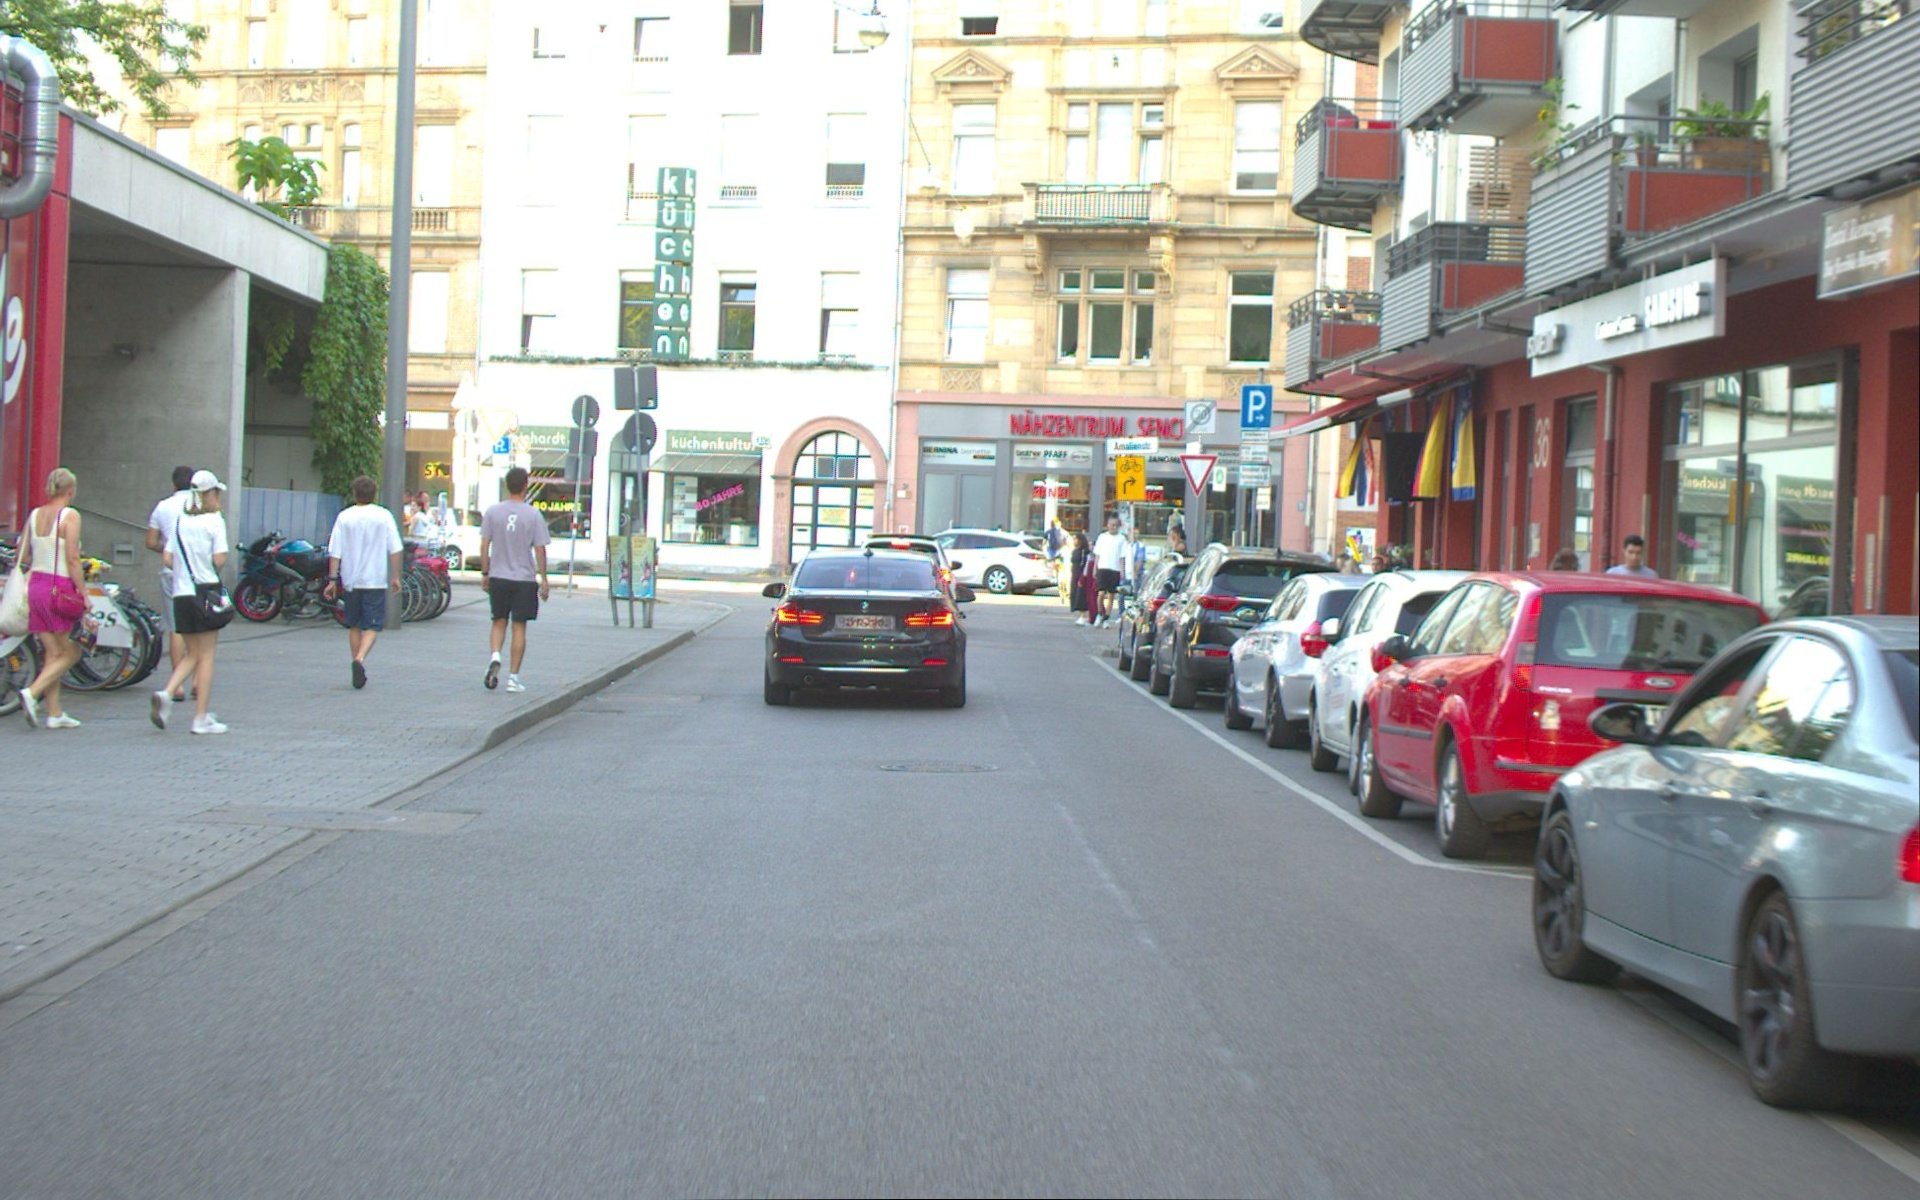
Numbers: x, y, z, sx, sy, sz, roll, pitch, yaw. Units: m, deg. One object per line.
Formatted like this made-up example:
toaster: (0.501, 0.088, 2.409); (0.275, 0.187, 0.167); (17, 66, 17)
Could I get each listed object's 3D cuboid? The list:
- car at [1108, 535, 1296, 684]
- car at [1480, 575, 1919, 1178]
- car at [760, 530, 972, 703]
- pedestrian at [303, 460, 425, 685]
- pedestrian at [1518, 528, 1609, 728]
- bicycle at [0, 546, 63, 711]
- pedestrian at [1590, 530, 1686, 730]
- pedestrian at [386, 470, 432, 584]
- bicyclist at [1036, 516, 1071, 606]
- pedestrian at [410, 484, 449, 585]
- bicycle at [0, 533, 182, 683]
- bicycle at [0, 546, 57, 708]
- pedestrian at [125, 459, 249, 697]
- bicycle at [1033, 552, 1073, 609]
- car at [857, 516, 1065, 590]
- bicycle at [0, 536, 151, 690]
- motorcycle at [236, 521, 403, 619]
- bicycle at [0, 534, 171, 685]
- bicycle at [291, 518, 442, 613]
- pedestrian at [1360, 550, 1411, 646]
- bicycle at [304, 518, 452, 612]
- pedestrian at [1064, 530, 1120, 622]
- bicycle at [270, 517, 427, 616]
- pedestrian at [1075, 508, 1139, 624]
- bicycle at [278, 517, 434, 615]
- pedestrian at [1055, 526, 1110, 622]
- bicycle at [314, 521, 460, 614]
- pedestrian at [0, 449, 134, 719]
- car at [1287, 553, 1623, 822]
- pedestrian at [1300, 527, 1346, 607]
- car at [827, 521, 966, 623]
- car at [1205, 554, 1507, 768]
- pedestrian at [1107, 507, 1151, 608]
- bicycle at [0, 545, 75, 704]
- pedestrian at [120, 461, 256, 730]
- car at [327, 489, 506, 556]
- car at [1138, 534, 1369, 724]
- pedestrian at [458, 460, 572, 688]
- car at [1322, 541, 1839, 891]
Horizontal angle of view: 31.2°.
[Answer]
car: (2.827, 0.065, 41.080); (1.765, 1.497, 4.791); (4, 2, -1)
car: (3.044, 0.743, 11.081); (1.736, 1.410, 4.683); (4, 2, -3)
car: (-0.827, 0.097, 32.033); (1.765, 1.370, 4.791); (3, 2, -1)
pedestrian: (-5.002, -0.239, 28.896); (0.741, 1.806, 1.009); (4, 1, -1)
pedestrian: (5.082, 0.225, 28.974); (0.648, 1.655, 0.655); (-1, 1, 1)
bicycle: (-7.165, 0.164, 23.712); (1.794, 1.104, 0.500); (2, 1, -1)
pedestrian: (5.699, 0.243, 28.939); (0.648, 1.655, 0.794); (-1, 1, 1)
pedestrian: (-9.188, -1.219, 57.308); (0.583, 1.875, 0.633); (2, 1, 5)
bicyclist: (1.854, -0.777, 68.066); (0.524, 1.750, 0.619); (3, 1, 9)
pedestrian: (-8.713, -1.071, 56.482); (0.500, 1.637, 0.521); (2, 1, 1)
bicycle: (-7.164, 0.047, 27.335); (1.794, 1.104, 0.500); (3, 1, 2)
bicycle: (-7.300, 0.154, 24.056); (1.794, 1.104, 0.500); (2, 1, -2)
pedestrian: (-5.856, -0.174, 26.089); (0.717, 1.748, 0.848); (2, 1, -2)
bicycle: (1.846, -0.391, 68.096); (0.536, 1.104, 1.799); (3, 1, 9)
car: (0.019, -1.075, 79.175); (4.357, 1.557, 1.866); (2, 1, 22)
bicycle: (-7.155, 0.075, 26.233); (1.794, 1.104, 0.500); (3, 1, 2)
motorcycle: (-7.640, -0.361, 41.008); (1.803, 1.060, 0.763); (4, 1, 25)
bicycle: (-7.149, 0.057, 26.865); (1.794, 1.104, 0.500); (3, 1, 2)
bicycle: (-7.550, -0.442, 43.785); (1.794, 1.104, 0.500); (4, 1, -6)
pedestrian: (6.086, -0.034, 49.230); (0.606, 1.343, 0.696); (1, 1, -2)
bicycle: (-7.524, -0.455, 44.489); (1.794, 1.104, 0.500); (4, 1, -4)
pedestrian: (2.248, -0.418, 58.647); (0.735, 1.508, 0.650); (3, 1, -10)
bicycle: (-7.545, -0.415, 42.442); (1.794, 1.104, 0.500); (4, 1, -2)
pedestrian: (2.426, -0.560, 56.728); (0.676, 1.871, 0.701); (2, 1, -38)
bicycle: (-7.558, -0.430, 43.036); (1.794, 1.104, 0.500); (4, 1, 2)
pedestrian: (2.115, -0.446, 59.370); (0.724, 1.603, 0.650); (3, 1, -10)
bicycle: (-7.593, -0.434, 45.590); (1.794, 1.104, 0.500); (4, 1, -1)
pedestrian: (-6.066, -0.117, 23.079); (0.753, 1.743, 0.846); (4, 1, -1)
car: (3.279, 0.519, 23.480); (1.606, 1.507, 4.048); (4, 2, 0)
pedestrian: (5.479, -0.503, 51.877); (0.417, 1.197, 0.537); (-2, 2, -43)
car: (-0.954, -0.464, 53.756); (1.877, 1.468, 4.000); (2, 2, 3)
car: (3.205, 0.443, 28.658); (1.698, 1.447, 4.459); (4, 2, -3)
pedestrian: (2.965, -0.749, 60.277); (0.605, 1.740, 0.669); (2, 1, 14)
bicycle: (-7.312, 0.141, 24.592); (1.794, 1.104, 0.500); (2, 1, -2)
pedestrian: (-5.200, -0.043, 23.206); (0.649, 1.744, 0.986); (3, 1, -1)
car: (-13.436, -1.918, 85.015); (3.991, 1.505, 1.798); (2, 1, 22)
car: (2.928, 0.236, 35.191); (1.765, 1.636, 4.791); (4, 2, -1)
pedestrian: (-3.818, -0.235, 29.586); (0.744, 1.887, 1.050); (3, 1, 0)
car: (3.247, 0.523, 18.944); (1.712, 1.507, 4.653); (4, 2, -3)
